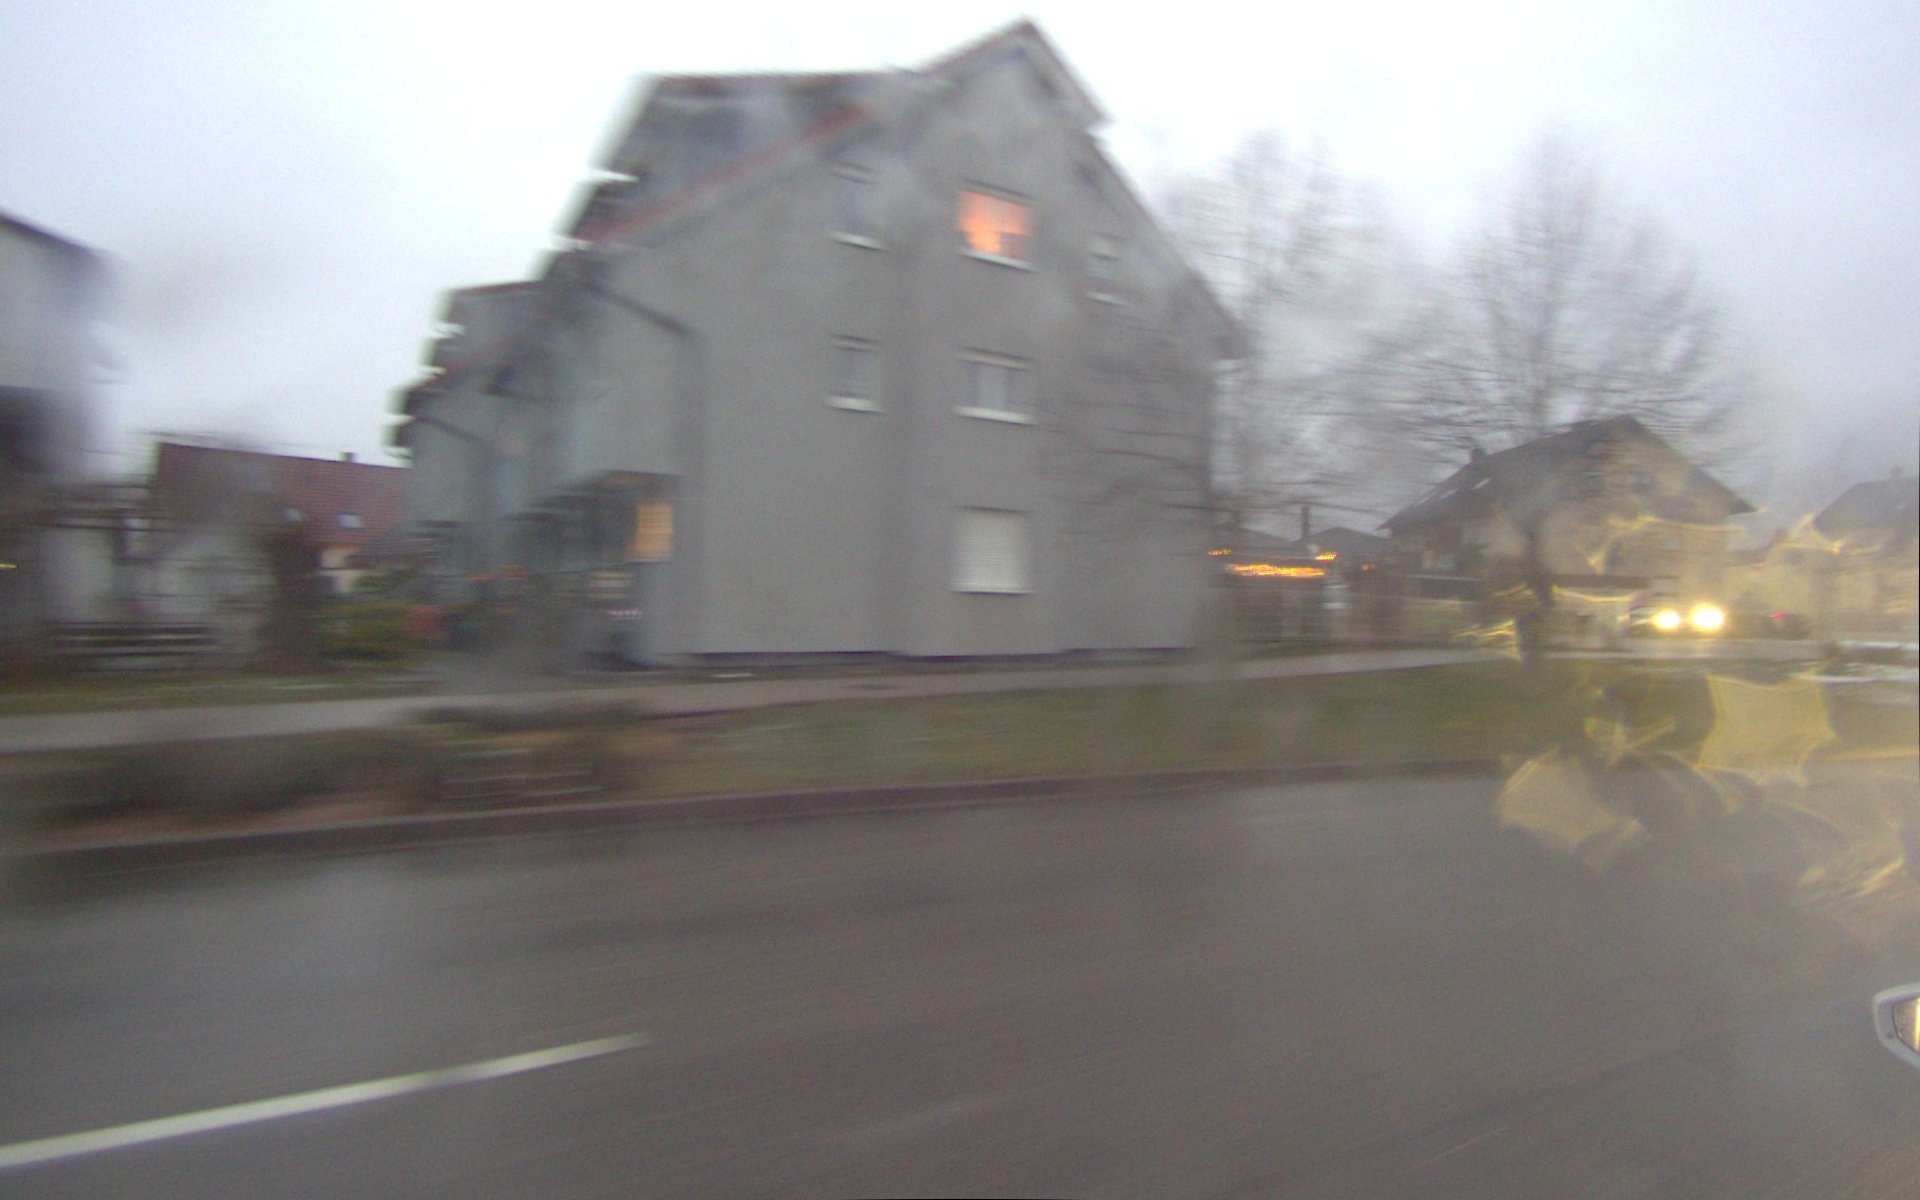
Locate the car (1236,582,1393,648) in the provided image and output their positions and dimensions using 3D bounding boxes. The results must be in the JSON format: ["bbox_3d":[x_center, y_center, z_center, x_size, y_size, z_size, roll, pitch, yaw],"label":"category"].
[{"bbox_3d":[9.863,0.387,27.903,3.952,1.673,1.984,0,2,-30],"label":"car"}]

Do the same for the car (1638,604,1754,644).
[{"bbox_3d":[28.569,0.941,38.985,4.268,1.457,1.387,1,2,-19],"label":"car"}]

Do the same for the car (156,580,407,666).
[{"bbox_3d":[-13.346,0.466,20.093,3.952,1.546,1.900,2,1,-29],"label":"car"}]

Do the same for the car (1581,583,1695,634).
[{"bbox_3d":[28.752,0.335,42.634,3.936,2.041,1.916,1,2,-18],"label":"car"}]
